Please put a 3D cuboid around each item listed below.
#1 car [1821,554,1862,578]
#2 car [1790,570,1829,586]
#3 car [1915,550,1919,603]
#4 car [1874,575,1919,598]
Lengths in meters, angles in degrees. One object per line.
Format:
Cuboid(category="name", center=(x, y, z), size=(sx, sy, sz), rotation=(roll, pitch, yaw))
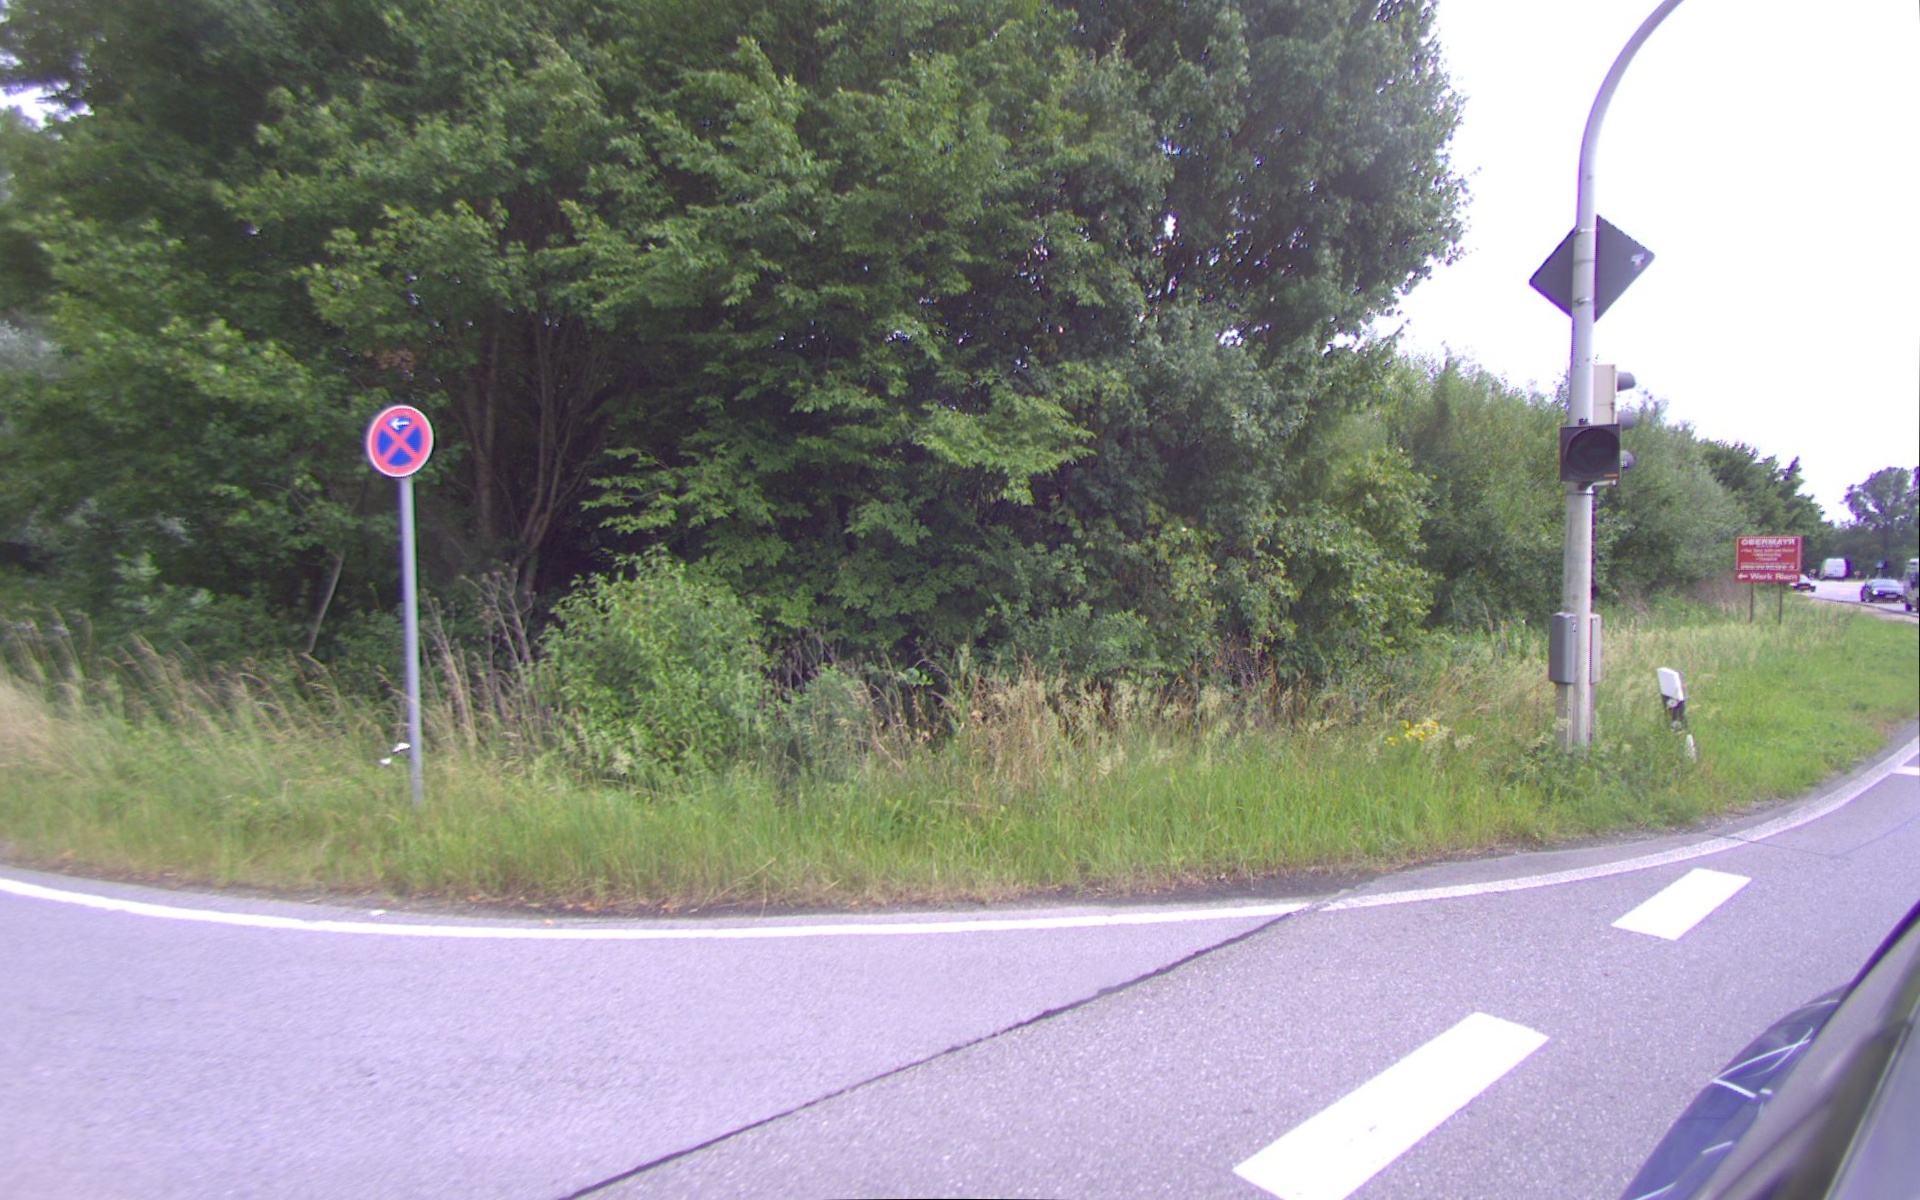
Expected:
Cuboid(category="car", center=(104.673, -4.035, 120.258), size=(2.421, 2.708, 6.814), rotation=(0, 1, 31))
Cuboid(category="car", center=(72.507, -1.886, 86.404), size=(1.716, 1.381, 3.962), rotation=(1, 2, 28))
Cuboid(category="car", center=(49.135, -1.211, 50.134), size=(2.209, 2.704, 5.166), rotation=(-2, 0, 39))
Cuboid(category="car", center=(58.382, -0.868, 62.938), size=(1.720, 1.381, 3.952), rotation=(1, 2, 34))
